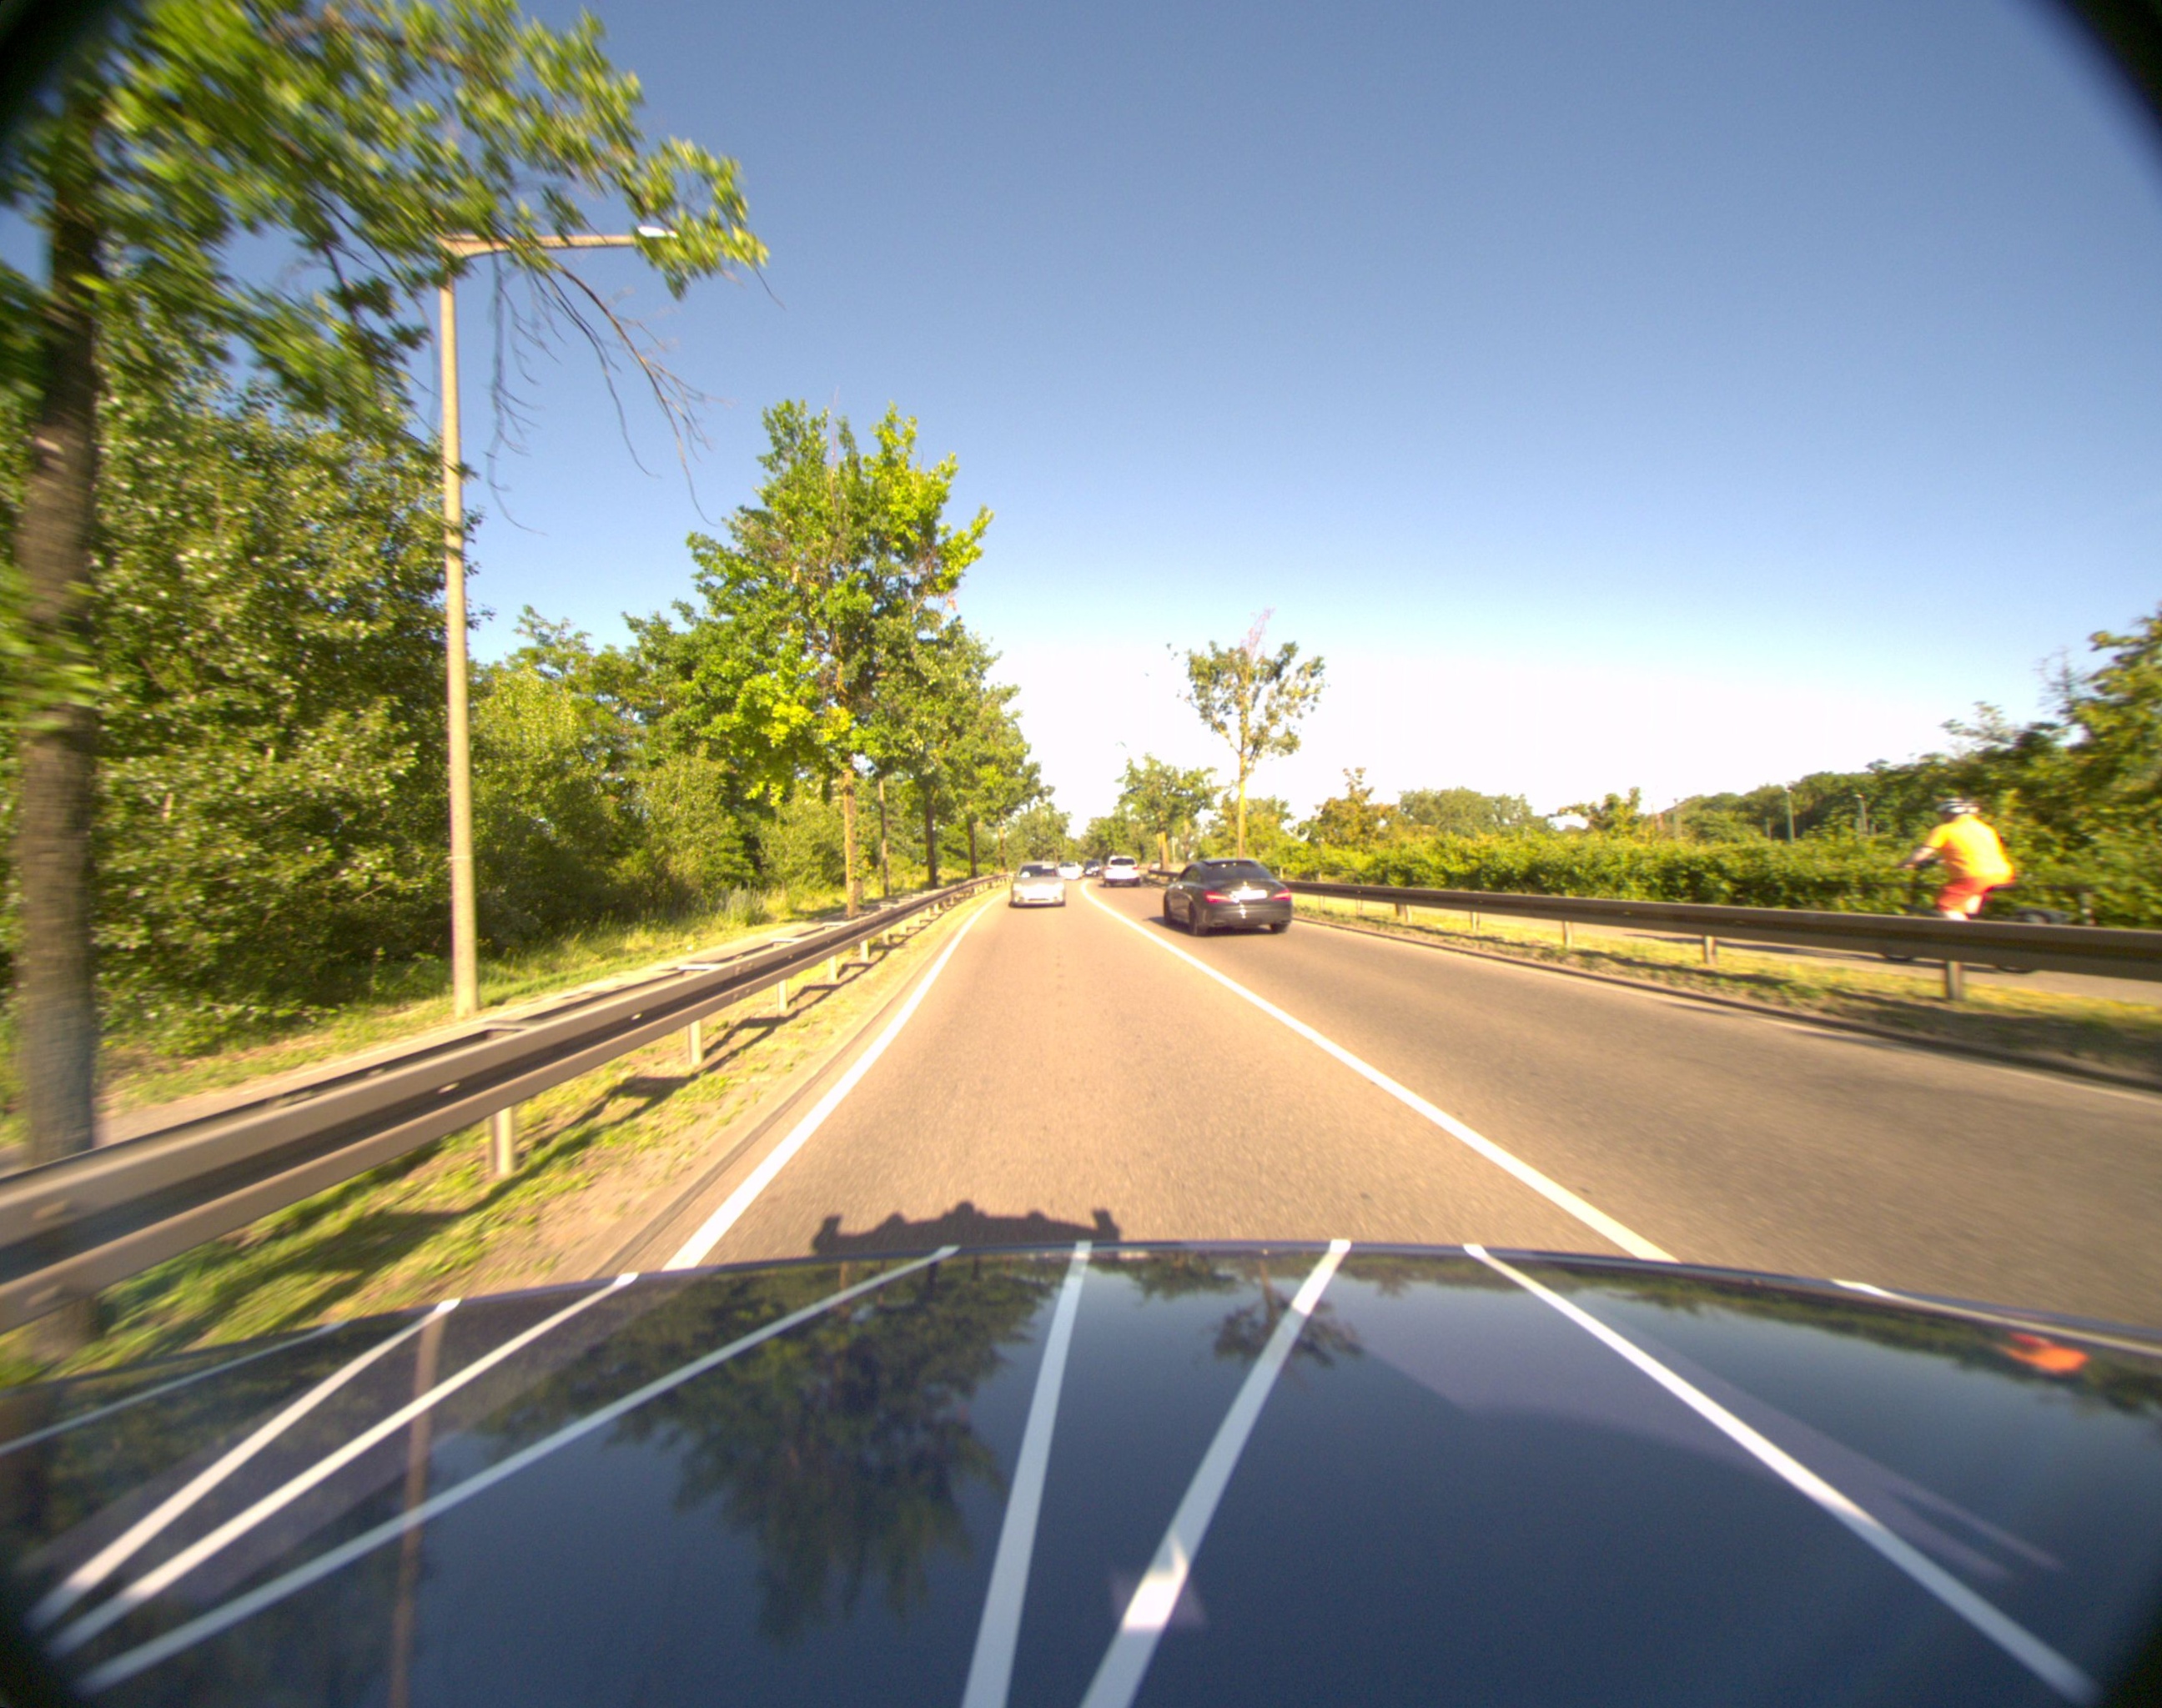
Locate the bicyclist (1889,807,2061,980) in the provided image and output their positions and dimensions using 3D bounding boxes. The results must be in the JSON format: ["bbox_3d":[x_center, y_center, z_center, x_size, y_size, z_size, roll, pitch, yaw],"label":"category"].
[{"bbox_3d":[8.908,0.370,7.610,0.653,1.614,0.874,-2,0,-4],"label":"bicyclist"}]

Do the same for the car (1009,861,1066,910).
[{"bbox_3d":[-1.396,0.988,25.131,1.683,1.433,3.858,-2,0,-2],"label":"car"}]

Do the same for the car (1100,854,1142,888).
[{"bbox_3d":[2.093,0.881,40.815,1.734,1.648,3.980,-2,0,-4],"label":"car"}]

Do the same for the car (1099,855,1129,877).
[{"bbox_3d":[2.422,0.845,56.598,1.854,1.483,4.715,-2,0,-2],"label":"car"}]

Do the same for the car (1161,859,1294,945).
[{"bbox_3d":[2.752,0.840,15.260,1.696,1.432,4.215,-2,0,-2],"label":"car"}]

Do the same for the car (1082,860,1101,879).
[{"bbox_3d":[1.006,1.414,71.116,1.683,1.694,3.606,-2,0,2],"label":"car"}]

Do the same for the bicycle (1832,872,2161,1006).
[{"bbox_3d":[8.921,0.755,7.583,0.662,1.089,2.107,-2,0,-3],"label":"bicycle"}]

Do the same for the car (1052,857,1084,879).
[{"bbox_3d":[-0.959,1.046,58.543,2.149,1.558,4.199,-1,0,4],"label":"car"}]

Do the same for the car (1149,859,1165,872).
[{"bbox_3d":[9.288,1.406,92.183,1.812,1.545,4.143,0,0,7],"label":"car"}]
